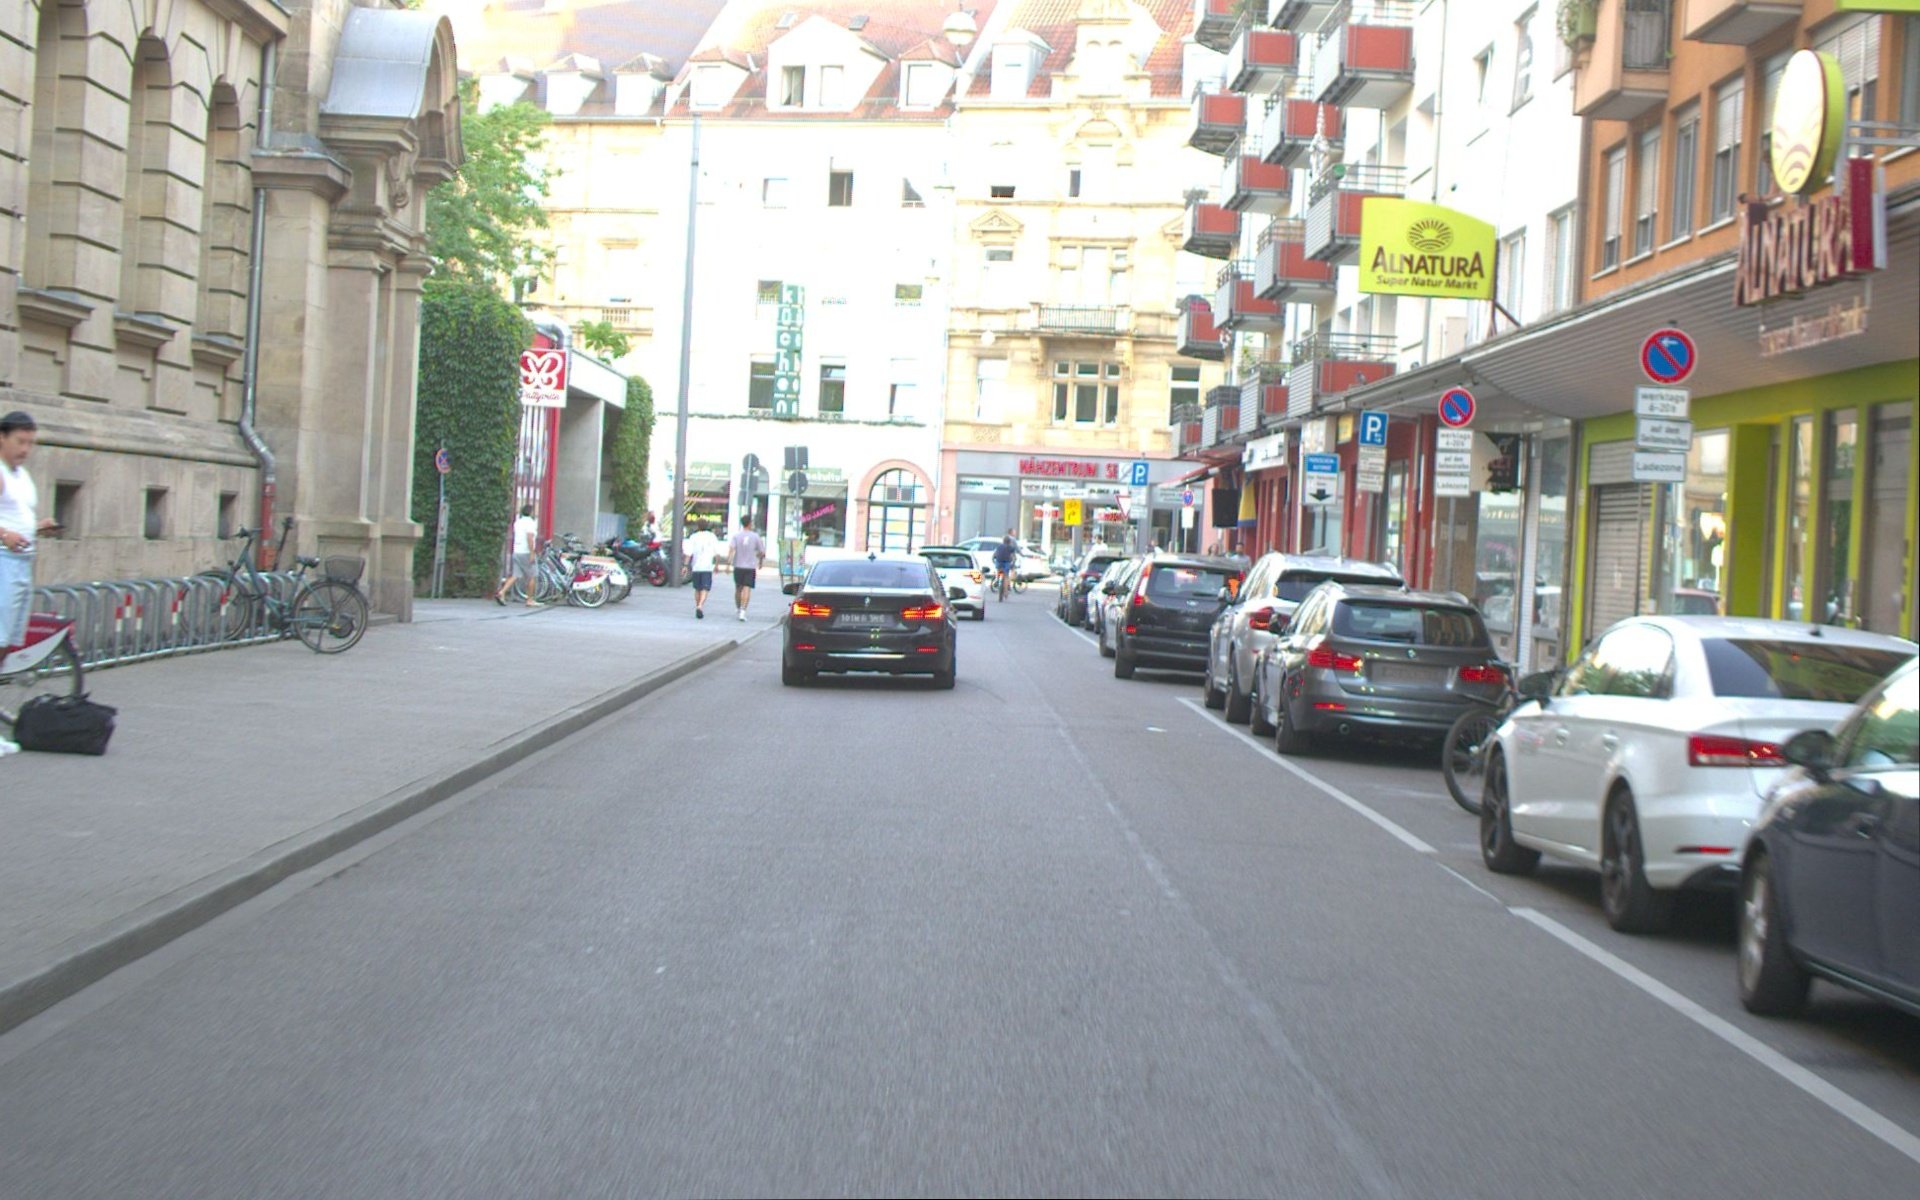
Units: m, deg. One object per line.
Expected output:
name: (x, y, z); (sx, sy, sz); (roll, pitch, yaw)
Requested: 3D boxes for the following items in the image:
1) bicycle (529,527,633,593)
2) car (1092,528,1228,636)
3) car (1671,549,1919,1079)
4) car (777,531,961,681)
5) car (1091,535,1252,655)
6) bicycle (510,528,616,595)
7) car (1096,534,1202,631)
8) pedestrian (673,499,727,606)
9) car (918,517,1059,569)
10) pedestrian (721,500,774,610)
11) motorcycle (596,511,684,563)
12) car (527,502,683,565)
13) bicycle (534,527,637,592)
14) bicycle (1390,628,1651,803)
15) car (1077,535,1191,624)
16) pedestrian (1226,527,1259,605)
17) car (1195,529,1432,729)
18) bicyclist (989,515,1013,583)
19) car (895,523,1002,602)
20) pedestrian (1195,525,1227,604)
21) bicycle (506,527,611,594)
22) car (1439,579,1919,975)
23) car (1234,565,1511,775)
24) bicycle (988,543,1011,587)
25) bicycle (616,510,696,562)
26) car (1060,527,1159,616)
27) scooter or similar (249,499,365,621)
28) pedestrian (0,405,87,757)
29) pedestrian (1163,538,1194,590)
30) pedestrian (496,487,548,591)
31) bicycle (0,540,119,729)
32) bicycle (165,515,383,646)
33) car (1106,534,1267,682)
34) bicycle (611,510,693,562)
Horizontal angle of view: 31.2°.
bicycle: (-7.064, -0.750, 64.116); (1.794, 1.104, 0.500); (4, 1, 3)
car: (3.251, -0.334, 56.695); (1.712, 1.507, 4.653); (5, 2, -2)
car: (3.670, 0.693, 11.220); (1.618, 1.511, 4.174); (5, 2, -1)
car: (-0.919, 0.015, 37.190); (1.765, 1.370, 4.791); (4, 2, 0)
car: (2.948, -0.106, 48.835); (1.736, 1.410, 4.683); (5, 2, -2)
bicycle: (-7.104, -0.693, 61.595); (1.794, 1.104, 0.500); (3, 1, 0)
car: (3.339, -0.342, 61.230); (1.606, 1.507, 4.048); (5, 2, 1)
pedestrian: (-4.589, -0.841, 60.671); (0.741, 1.806, 1.009); (5, 1, -1)
car: (0.961, -1.928, 116.993); (4.357, 1.557, 1.866); (3, 1, 23)
pedestrian: (-3.780, -0.806, 61.150); (0.744, 1.887, 1.050); (4, 1, 1)
motorcycle: (-7.345, -1.442, 78.890); (1.803, 1.060, 0.763); (5, 1, 26)
car: (-9.429, -1.772, 91.167); (3.986, 1.496, 1.892); (2, 2, -8)
bicycle: (-7.051, -0.759, 64.748); (1.794, 1.104, 0.500); (4, 1, 3)
bicycle: (3.666, 0.760, 22.401); (1.732, 1.052, 0.659); (3, 2, -41)
car: (3.330, -0.426, 66.408); (1.698, 1.447, 4.459); (5, 2, -2)
pedestrian: (6.019, -0.732, 73.240); (0.648, 1.655, 0.794); (0, 1, 2)
car: (3.435, 0.220, 34.212); (1.752, 1.662, 4.757); (5, 2, 0)
bicyclist: (1.072, -1.328, 90.043); (0.523, 1.750, 0.620); (3, 1, 1)
car: (-0.209, -0.794, 70.312); (1.878, 1.468, 4.000); (2, 2, 4)
pedestrian: (5.338, -0.759, 73.254); (0.648, 1.655, 0.655); (0, 1, 2)
bicycle: (-7.234, -0.706, 61.941); (1.794, 1.104, 0.500); (3, 1, -1)
car: (3.625, 0.738, 16.396); (1.691, 1.406, 4.640); (5, 2, -3)
car: (3.413, 0.523, 29.249); (1.691, 1.410, 4.757); (5, 2, 0)
bicycle: (1.043, -0.917, 90.074); (0.536, 1.104, 1.800); (3, 1, 1)
bicycle: (-7.221, -1.514, 81.666); (1.794, 1.104, 0.500); (4, 1, -5)
car: (3.137, -0.644, 72.943); (1.765, 1.636, 4.791); (5, 2, 0)
scooter or similar: (-7.024, -0.431, 36.959); (1.132, 1.228, 0.497); (4, 1, -12)
pedestrian: (-5.142, -0.123, 18.563); (0.588, 1.845, 0.755); (5, 1, -6)
pedestrian: (5.502, -0.900, 86.631); (0.687, 1.282, 0.608); (2, 1, 9)
pedestrian: (-7.549, -1.050, 59.296); (0.717, 1.748, 0.848); (3, 1, -1)
bicycle: (-6.047, 0.150, 20.309); (1.937, 1.058, 0.620); (4, 0, -2)
bicycle: (-6.621, -0.192, 33.171); (1.936, 1.058, 0.620); (6, 0, -15)
car: (2.877, 0.052, 43.461); (1.794, 1.604, 4.486); (5, 2, 4)
bicycle: (-7.238, -1.505, 80.917); (1.794, 1.104, 0.500); (4, 1, 2)
